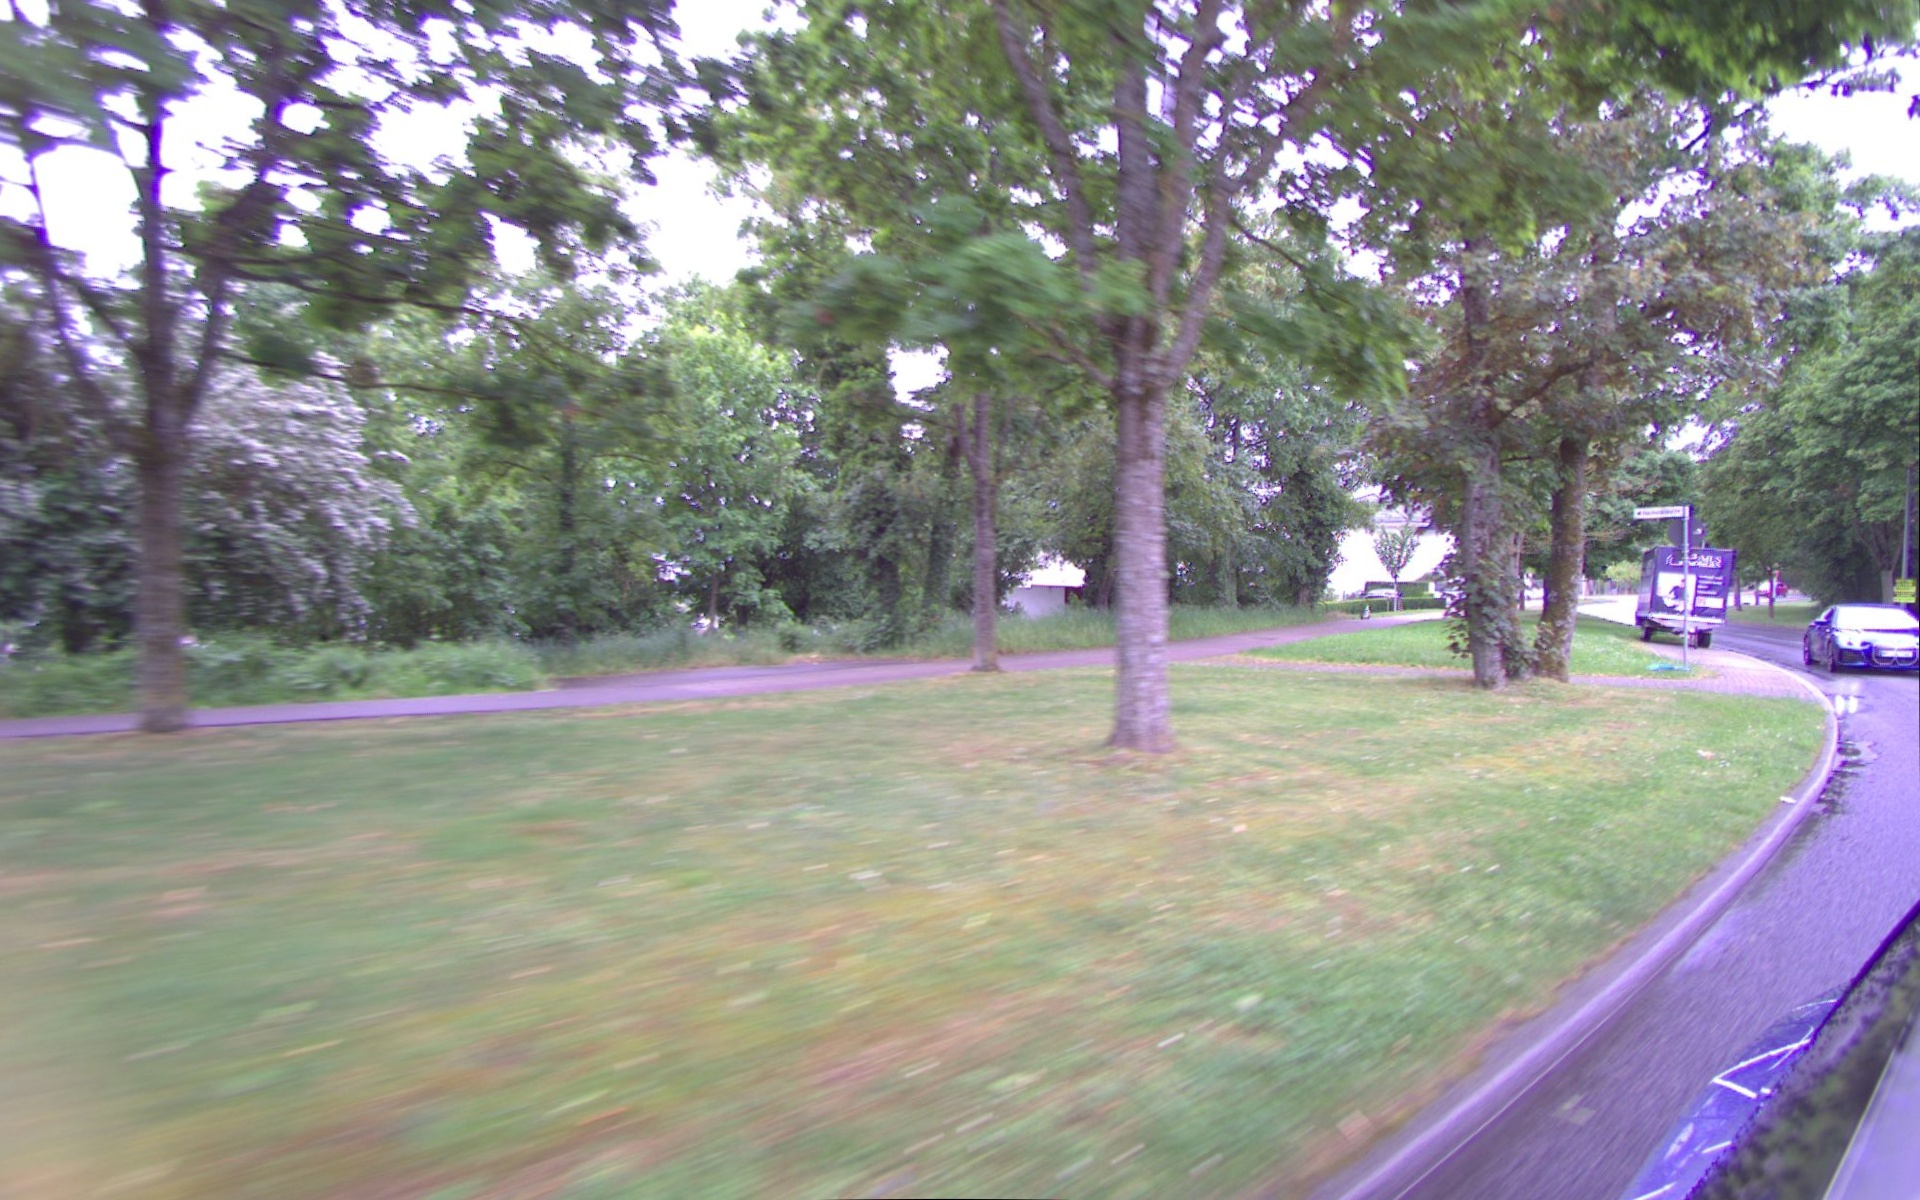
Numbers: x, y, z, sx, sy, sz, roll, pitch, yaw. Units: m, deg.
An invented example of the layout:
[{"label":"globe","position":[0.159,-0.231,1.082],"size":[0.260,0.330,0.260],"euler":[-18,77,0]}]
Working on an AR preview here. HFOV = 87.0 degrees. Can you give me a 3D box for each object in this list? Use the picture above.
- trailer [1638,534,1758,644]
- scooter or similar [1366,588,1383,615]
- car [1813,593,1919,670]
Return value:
[{"label":"trailer","position":[21.850,-0.357,30.211],"size":[1.984,2.841,5.550],"euler":[7,4,29]},{"label":"scooter or similar","position":[18.542,0.048,45.258],"size":[0.461,1.161,1.285],"euler":[2,2,33]},{"label":"car","position":[20.164,0.628,22.164],"size":[1.804,1.486,3.927],"euler":[-1,0,34]}]
